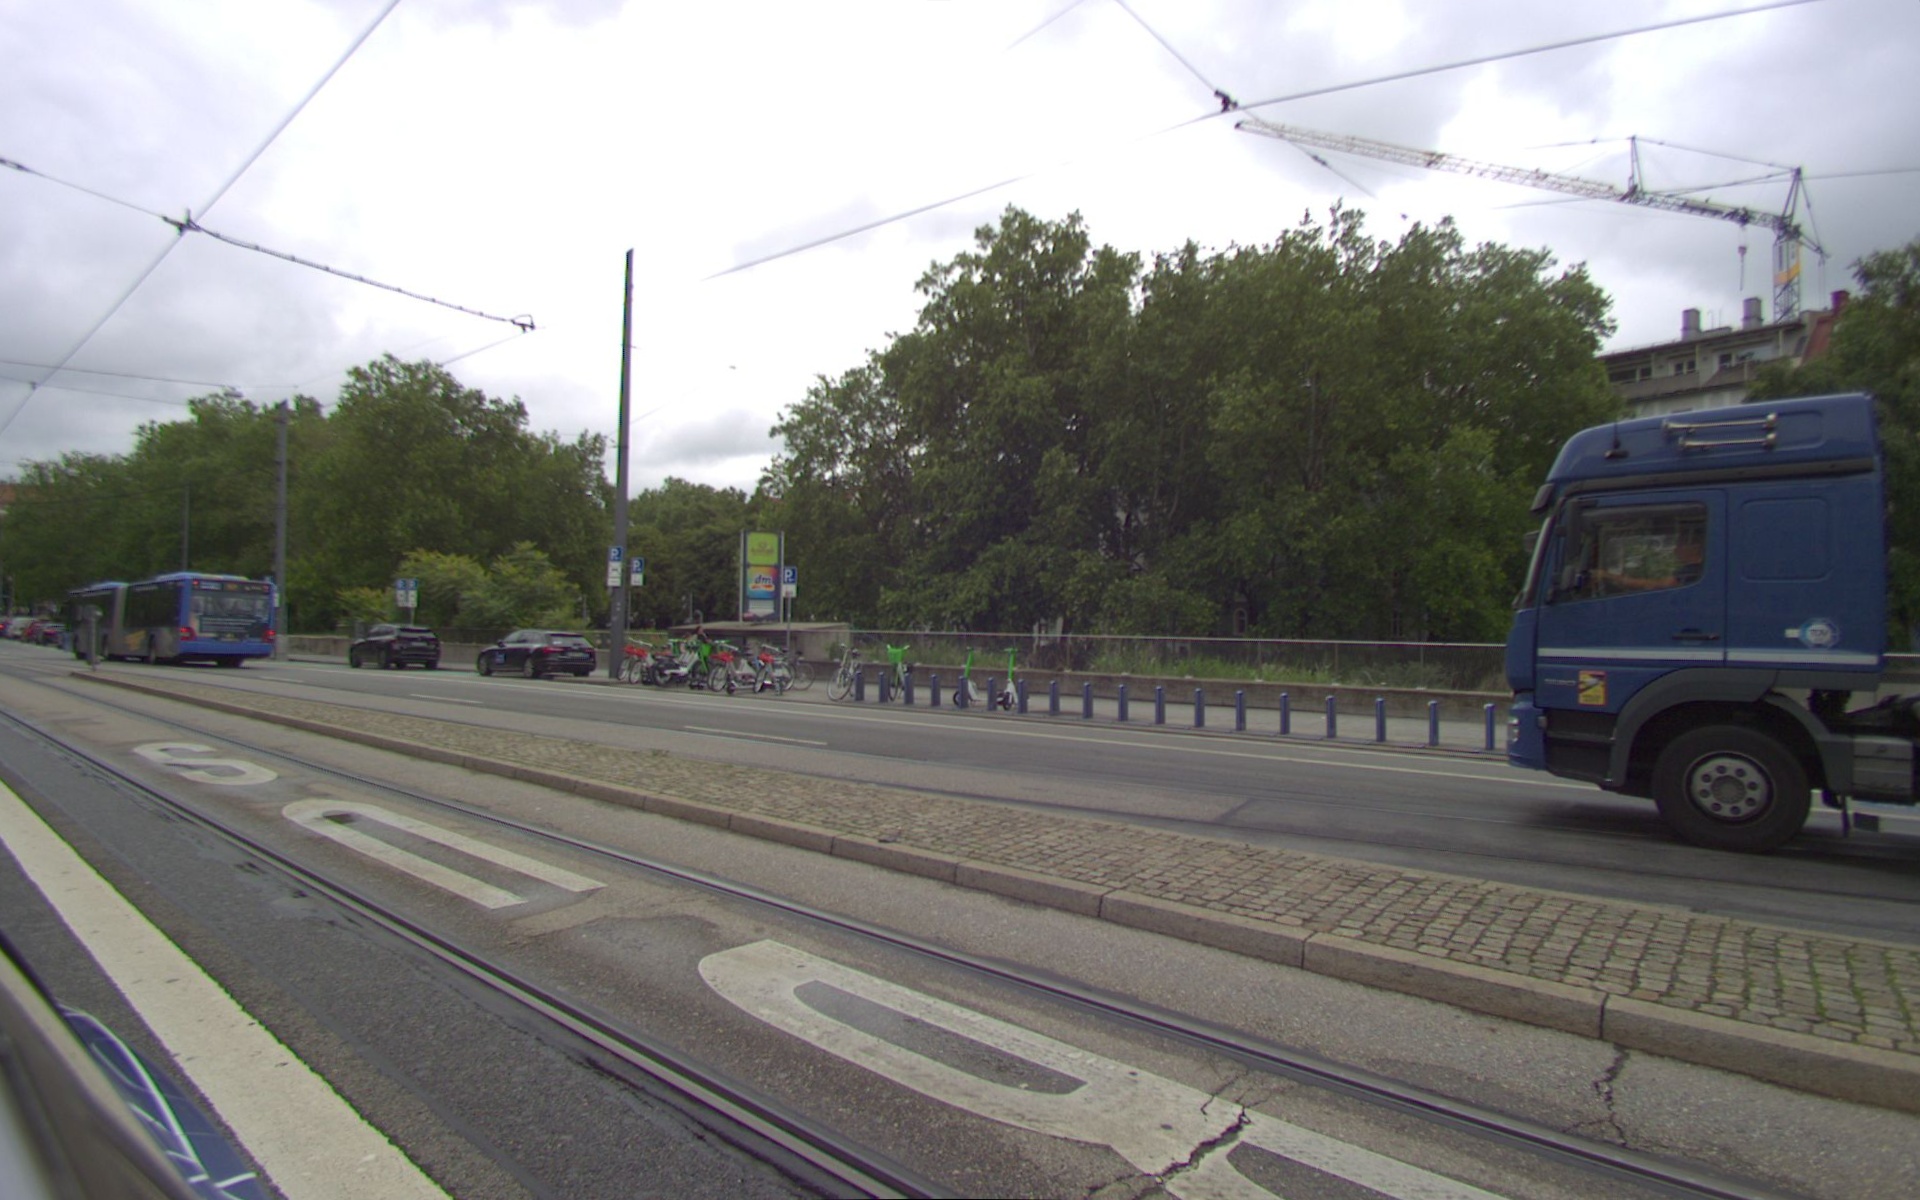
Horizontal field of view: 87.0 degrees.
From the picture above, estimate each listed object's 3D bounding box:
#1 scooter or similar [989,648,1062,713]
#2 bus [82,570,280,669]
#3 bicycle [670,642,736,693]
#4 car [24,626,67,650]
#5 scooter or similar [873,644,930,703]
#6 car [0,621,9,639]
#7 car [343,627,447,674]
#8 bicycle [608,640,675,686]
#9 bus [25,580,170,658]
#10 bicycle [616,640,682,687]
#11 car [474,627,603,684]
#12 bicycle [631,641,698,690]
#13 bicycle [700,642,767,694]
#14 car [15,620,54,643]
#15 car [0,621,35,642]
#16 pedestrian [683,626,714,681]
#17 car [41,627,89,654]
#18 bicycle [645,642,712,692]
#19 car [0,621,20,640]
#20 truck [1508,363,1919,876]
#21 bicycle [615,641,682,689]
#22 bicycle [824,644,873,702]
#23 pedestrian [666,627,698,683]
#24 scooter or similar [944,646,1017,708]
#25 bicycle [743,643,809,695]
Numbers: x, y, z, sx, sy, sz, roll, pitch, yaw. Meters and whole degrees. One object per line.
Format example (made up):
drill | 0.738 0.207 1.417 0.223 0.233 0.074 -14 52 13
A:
scooter or similar | 1.282 1.522 19.590 0.561 1.181 1.671 -1 -2 38
bus | -27.927 0.744 35.871 13.404 2.989 2.599 -1 -4 40
bicycle | -6.217 1.625 24.578 0.504 1.181 1.675 -1 -2 31
car | -64.957 2.696 71.896 3.998 1.655 1.786 -1 -2 41
scooter or similar | -1.234 1.557 21.821 0.558 1.181 1.681 0 -2 22
car | -90.998 2.791 95.237 3.998 1.697 1.786 -1 -2 41
car | -20.381 1.768 36.465 4.099 1.582 1.973 -1 -2 41
bicycle | -8.526 1.668 27.114 0.561 1.181 1.672 -1 -2 38
bus | -37.956 0.880 44.271 12.835 2.989 2.599 -1 -4 40
bicycle | -8.176 1.652 26.687 0.505 1.181 1.672 -1 -2 37
car | -12.559 1.609 30.045 4.231 1.537 1.840 -1 -3 41
bicycle | -7.433 1.641 25.526 0.504 1.181 1.674 -1 -2 33
bicycle | -5.412 1.614 24.298 0.560 1.181 1.675 -1 -2 31
car | -71.681 2.439 78.391 3.998 1.697 1.786 -1 -2 41
car | -79.638 2.636 85.486 3.998 1.697 1.786 -1 -2 41
pedestrian | -7.657 1.564 29.657 0.588 1.570 0.624 -1 -3 40
car | -58.448 2.627 66.060 3.998 1.655 1.786 -1 -2 41
bicycle | -6.977 1.635 25.166 0.560 1.181 1.675 -1 -2 31
car | -85.974 2.722 90.968 3.998 1.697 1.786 -1 -2 41
truck | 7.851 0.163 6.111 7.683 3.111 2.540 -1 -4 39
bicycle | -7.942 1.648 25.881 0.504 1.181 1.673 -1 -2 34
bicycle | -2.419 1.573 22.103 0.556 1.181 1.687 0 -2 11
pedestrian | -7.983 1.574 29.034 0.588 1.570 0.624 -1 -3 40
scooter or similar | 0.431 1.534 20.415 0.561 1.181 1.671 -1 -2 38
bicycle | -4.308 1.599 23.796 0.560 1.181 1.675 -1 -2 31
